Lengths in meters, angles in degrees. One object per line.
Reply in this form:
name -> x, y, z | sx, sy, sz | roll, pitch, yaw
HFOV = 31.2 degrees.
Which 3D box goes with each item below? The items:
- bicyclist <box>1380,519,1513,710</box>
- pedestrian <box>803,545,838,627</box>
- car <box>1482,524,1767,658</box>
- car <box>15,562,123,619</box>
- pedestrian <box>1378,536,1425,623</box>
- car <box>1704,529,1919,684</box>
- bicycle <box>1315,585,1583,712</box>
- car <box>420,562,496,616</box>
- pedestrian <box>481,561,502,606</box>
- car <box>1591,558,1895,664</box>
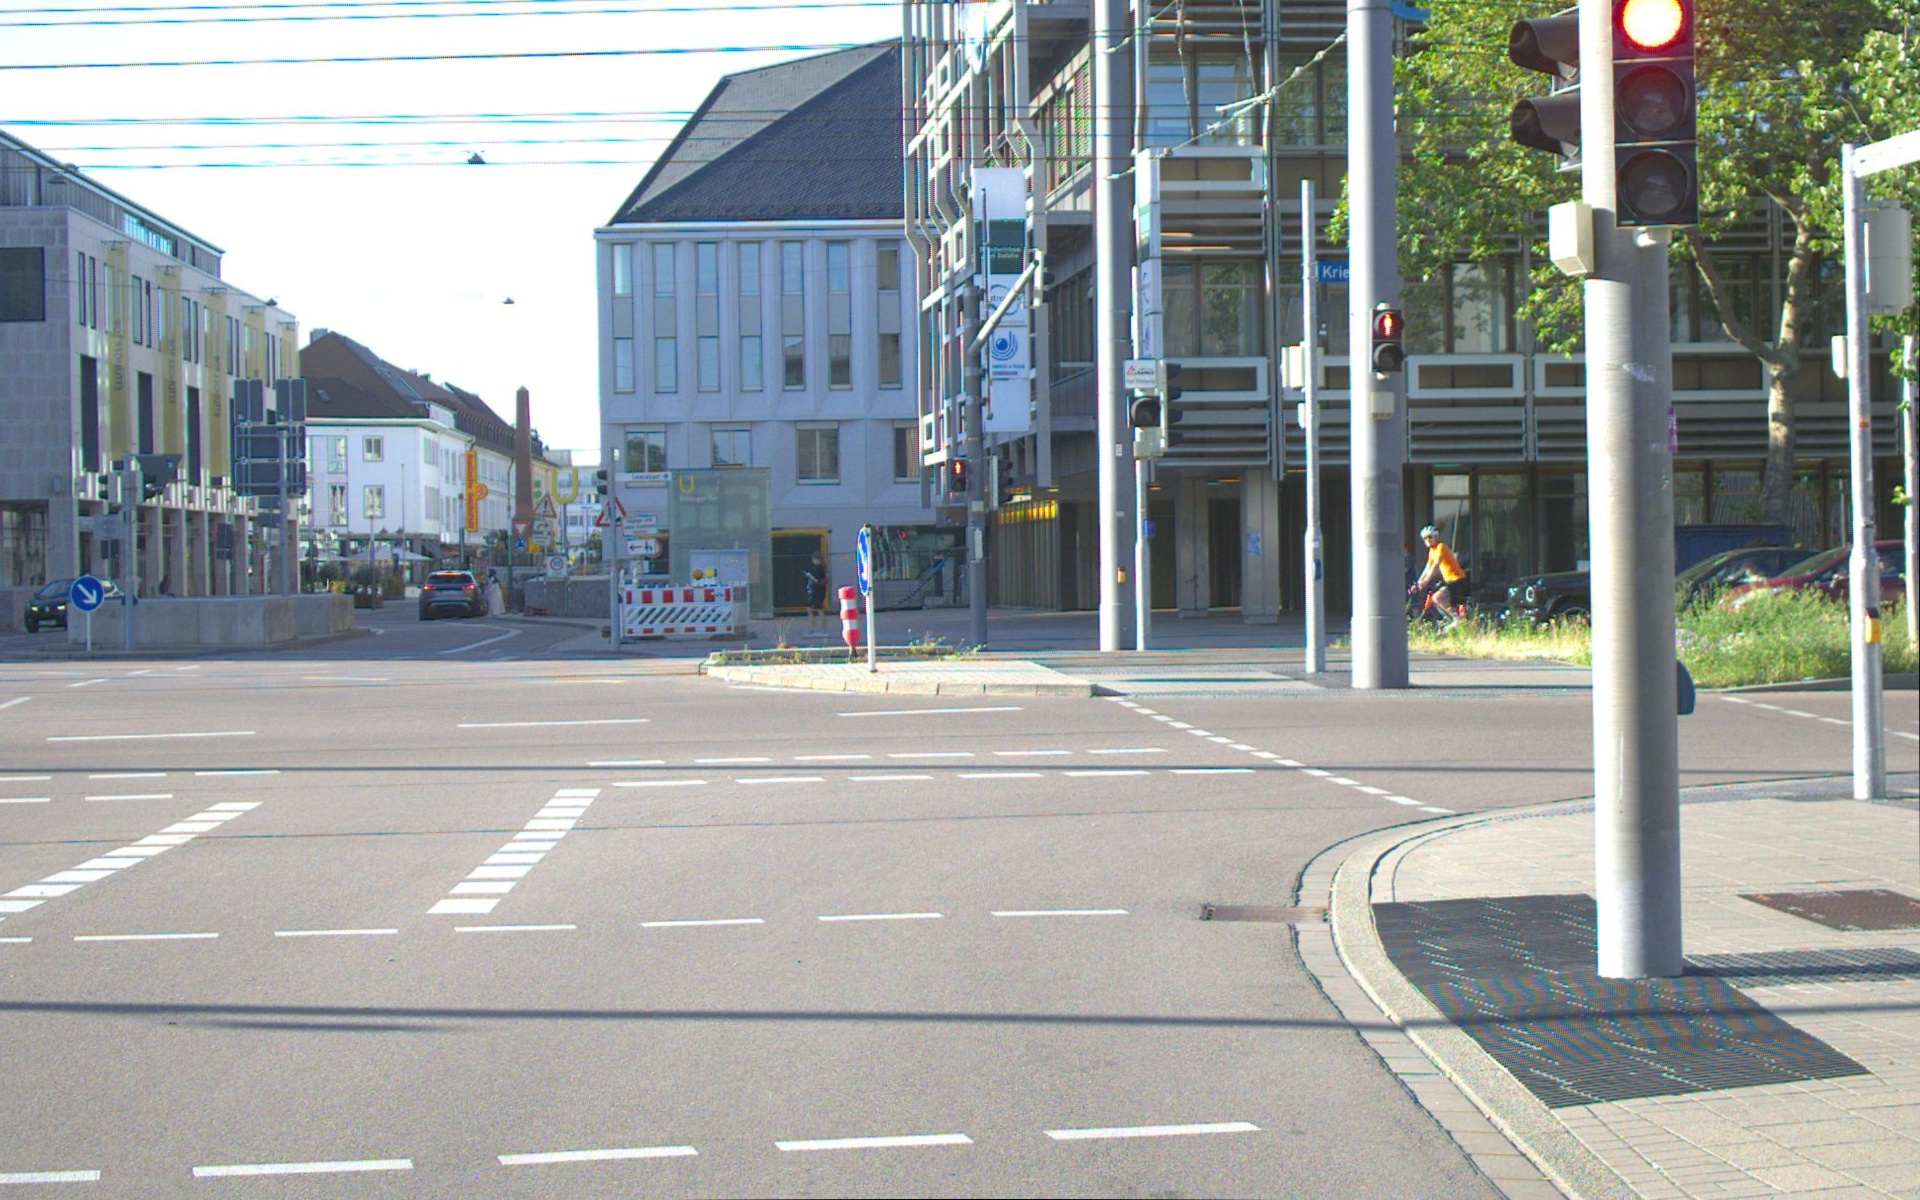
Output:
bicyclist -> 6.666, 0.187, 47.139 | 1.567, 2.571, 0.932 | -1, 1, -9
pedestrian -> -2.820, -0.289, 69.544 | 0.663, 1.652, 0.755 | -1, 1, -3
car -> 10.349, -0.146, 53.776 | 3.986, 2.007, 2.000 | 1, 0, -3
car -> -24.387, -0.278, 94.187 | 1.993, 1.481, 4.000 | -1, 1, -2
pedestrian -> 8.490, -0.404, 66.076 | 0.729, 1.652, 0.651 | -1, 1, -7
car -> 12.292, 0.085, 46.408 | 3.986, 2.007, 2.000 | 1, 0, -3
bicycle -> 6.697, 0.647, 47.145 | 3.490, 1.653, 0.932 | -1, 1, -9
car -> -15.805, -0.355, 108.421 | 2.199, 1.601, 4.327 | -1, 1, -6
pedestrian -> -14.761, -0.512, 108.336 | 0.609, 1.406, 0.570 | -1, 1, -6
car -> 11.498, 0.155, 50.660 | 3.986, 1.503, 1.868 | 0, 1, -3
